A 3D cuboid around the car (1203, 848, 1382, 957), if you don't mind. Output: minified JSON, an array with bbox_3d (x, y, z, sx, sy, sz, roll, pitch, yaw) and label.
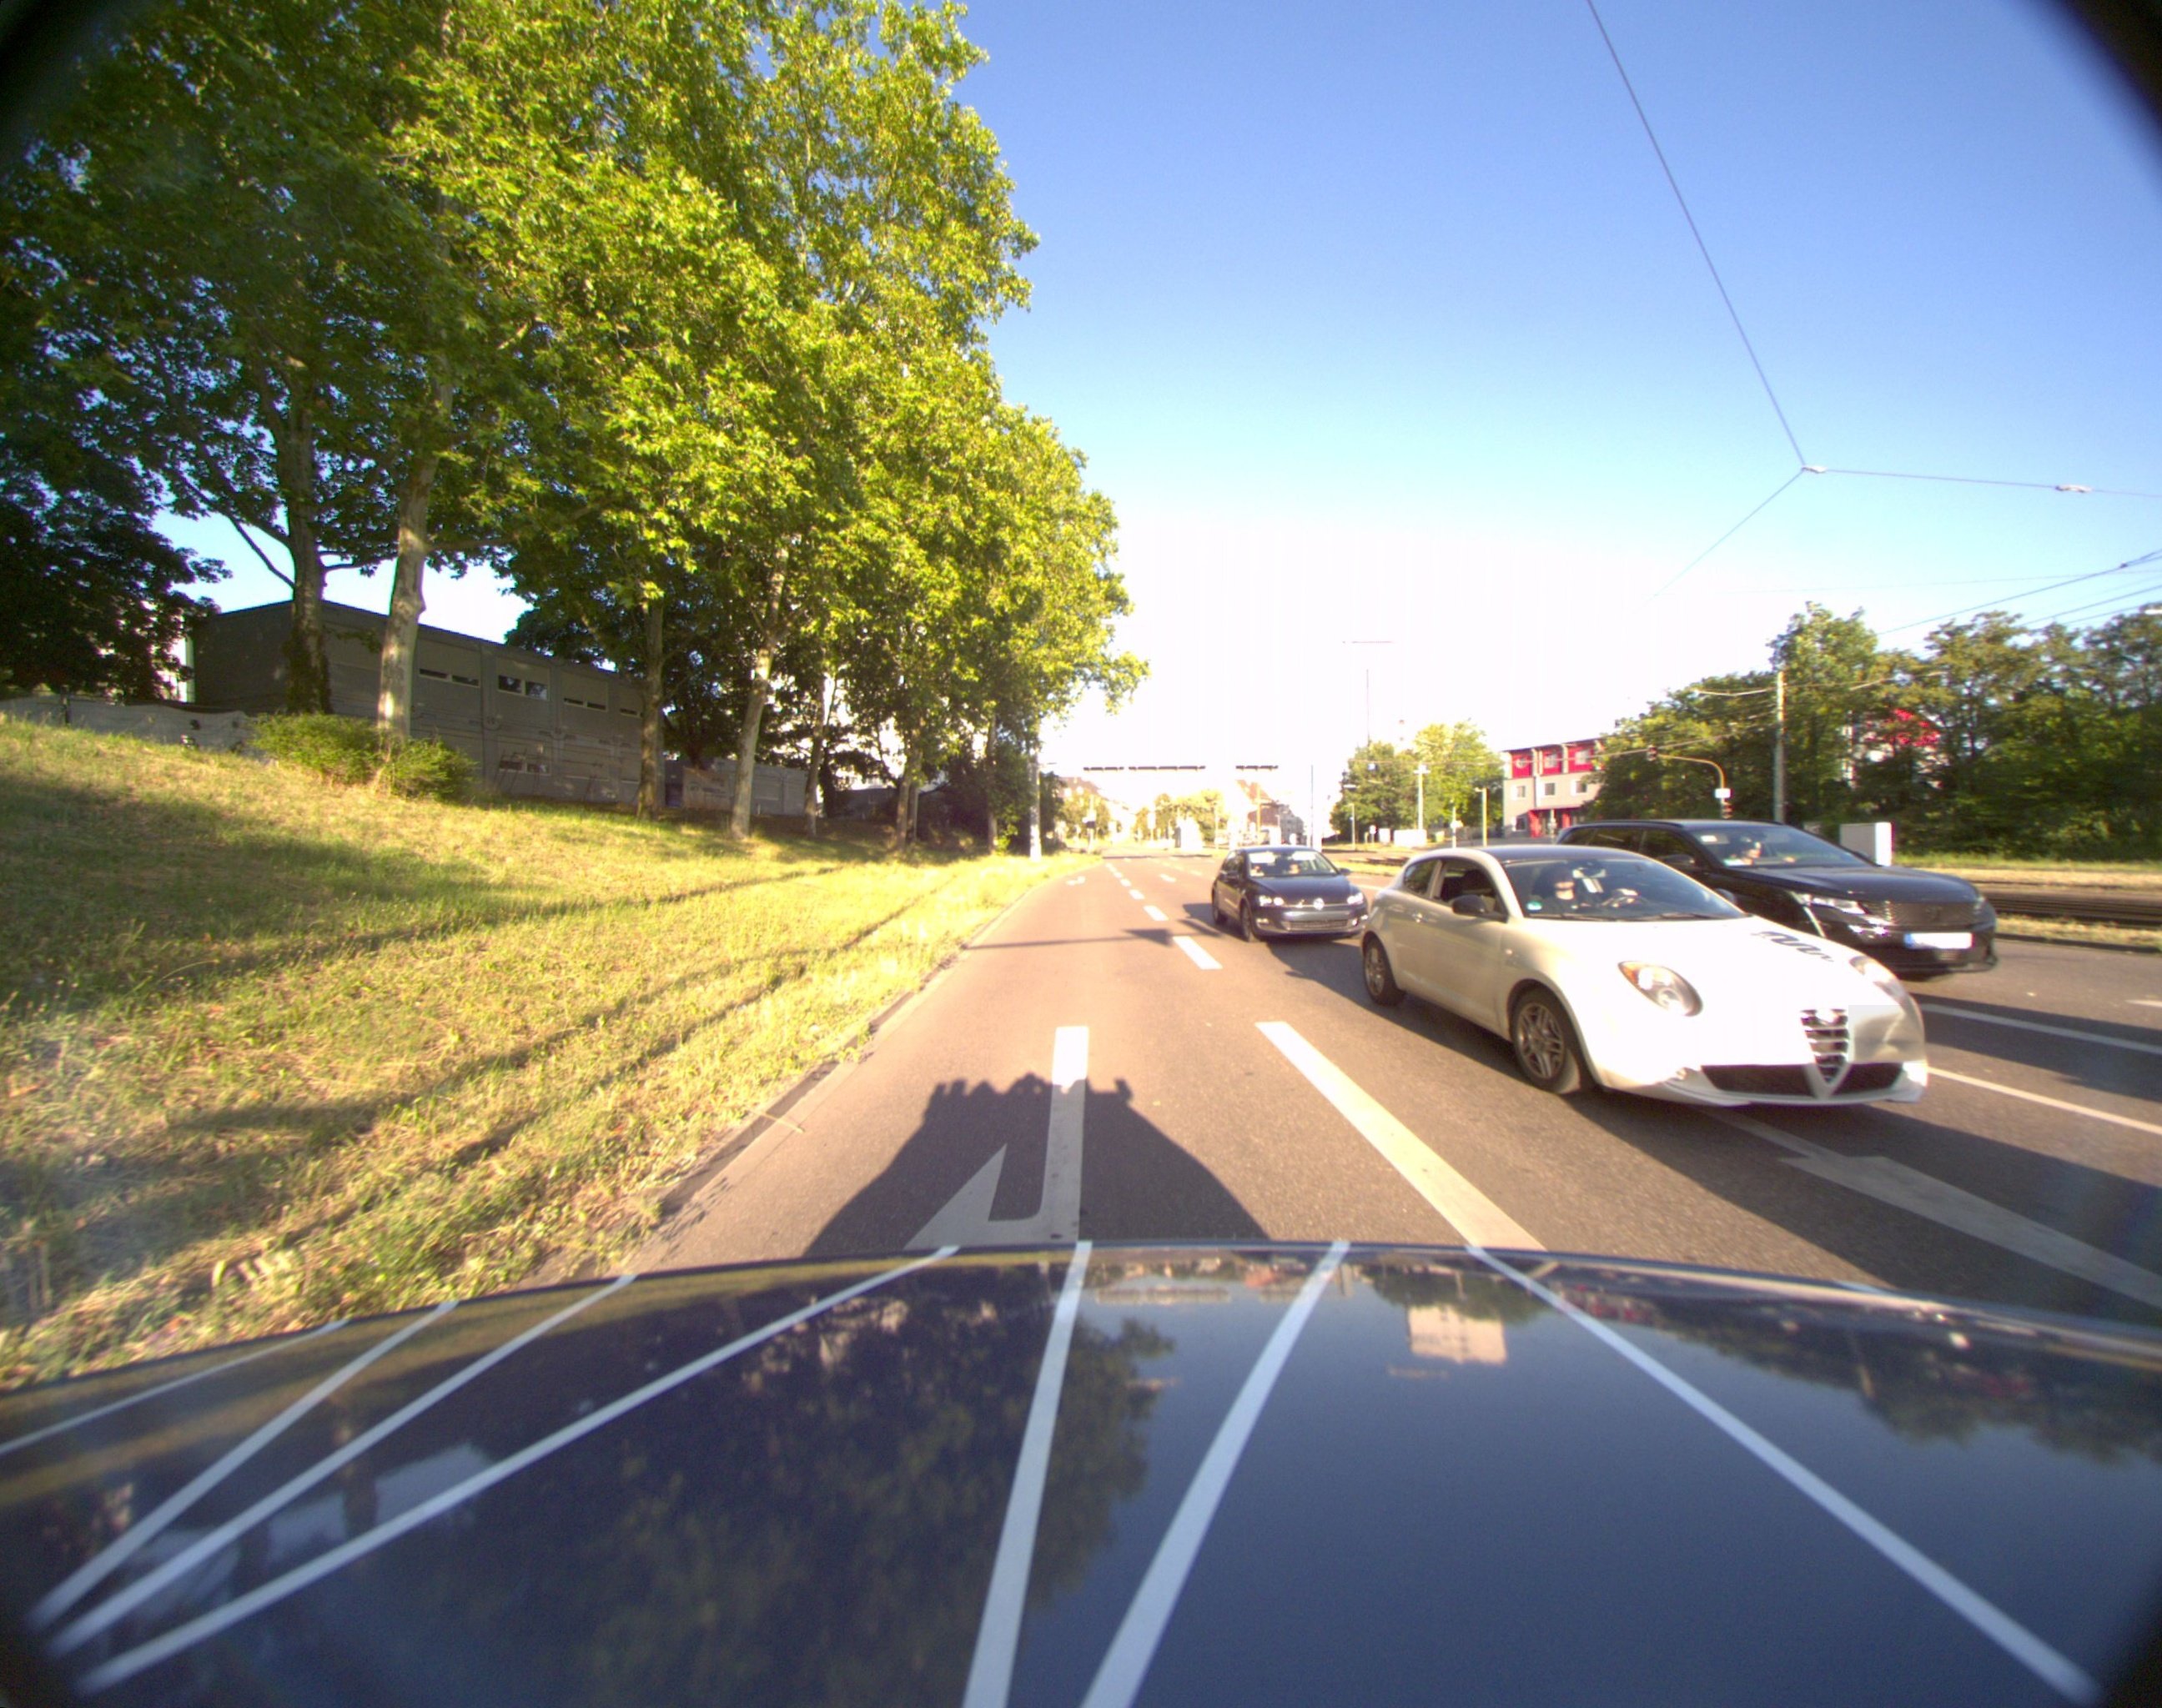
[{"bbox_3d":[3.232,0.654,12.415,1.782,1.422,3.923,-1,1,-1],"label":"car"}]

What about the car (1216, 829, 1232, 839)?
[{"bbox_3d":[30.912,-4.264,164.727,1.994,2.002,4.007,-1,2,33],"label":"car"}]

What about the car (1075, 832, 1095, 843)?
[{"bbox_3d":[0.766,-3.178,145.538,1.995,1.807,4.007,-1,2,31],"label":"car"}]

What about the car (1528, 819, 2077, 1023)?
[{"bbox_3d":[7.259,0.515,8.538,1.920,1.639,4.601,-1,1,2],"label":"car"}]

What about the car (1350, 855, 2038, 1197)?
[{"bbox_3d":[3.453,0.779,5.372,1.665,1.422,3.923,-1,1,-1],"label":"car"}]
